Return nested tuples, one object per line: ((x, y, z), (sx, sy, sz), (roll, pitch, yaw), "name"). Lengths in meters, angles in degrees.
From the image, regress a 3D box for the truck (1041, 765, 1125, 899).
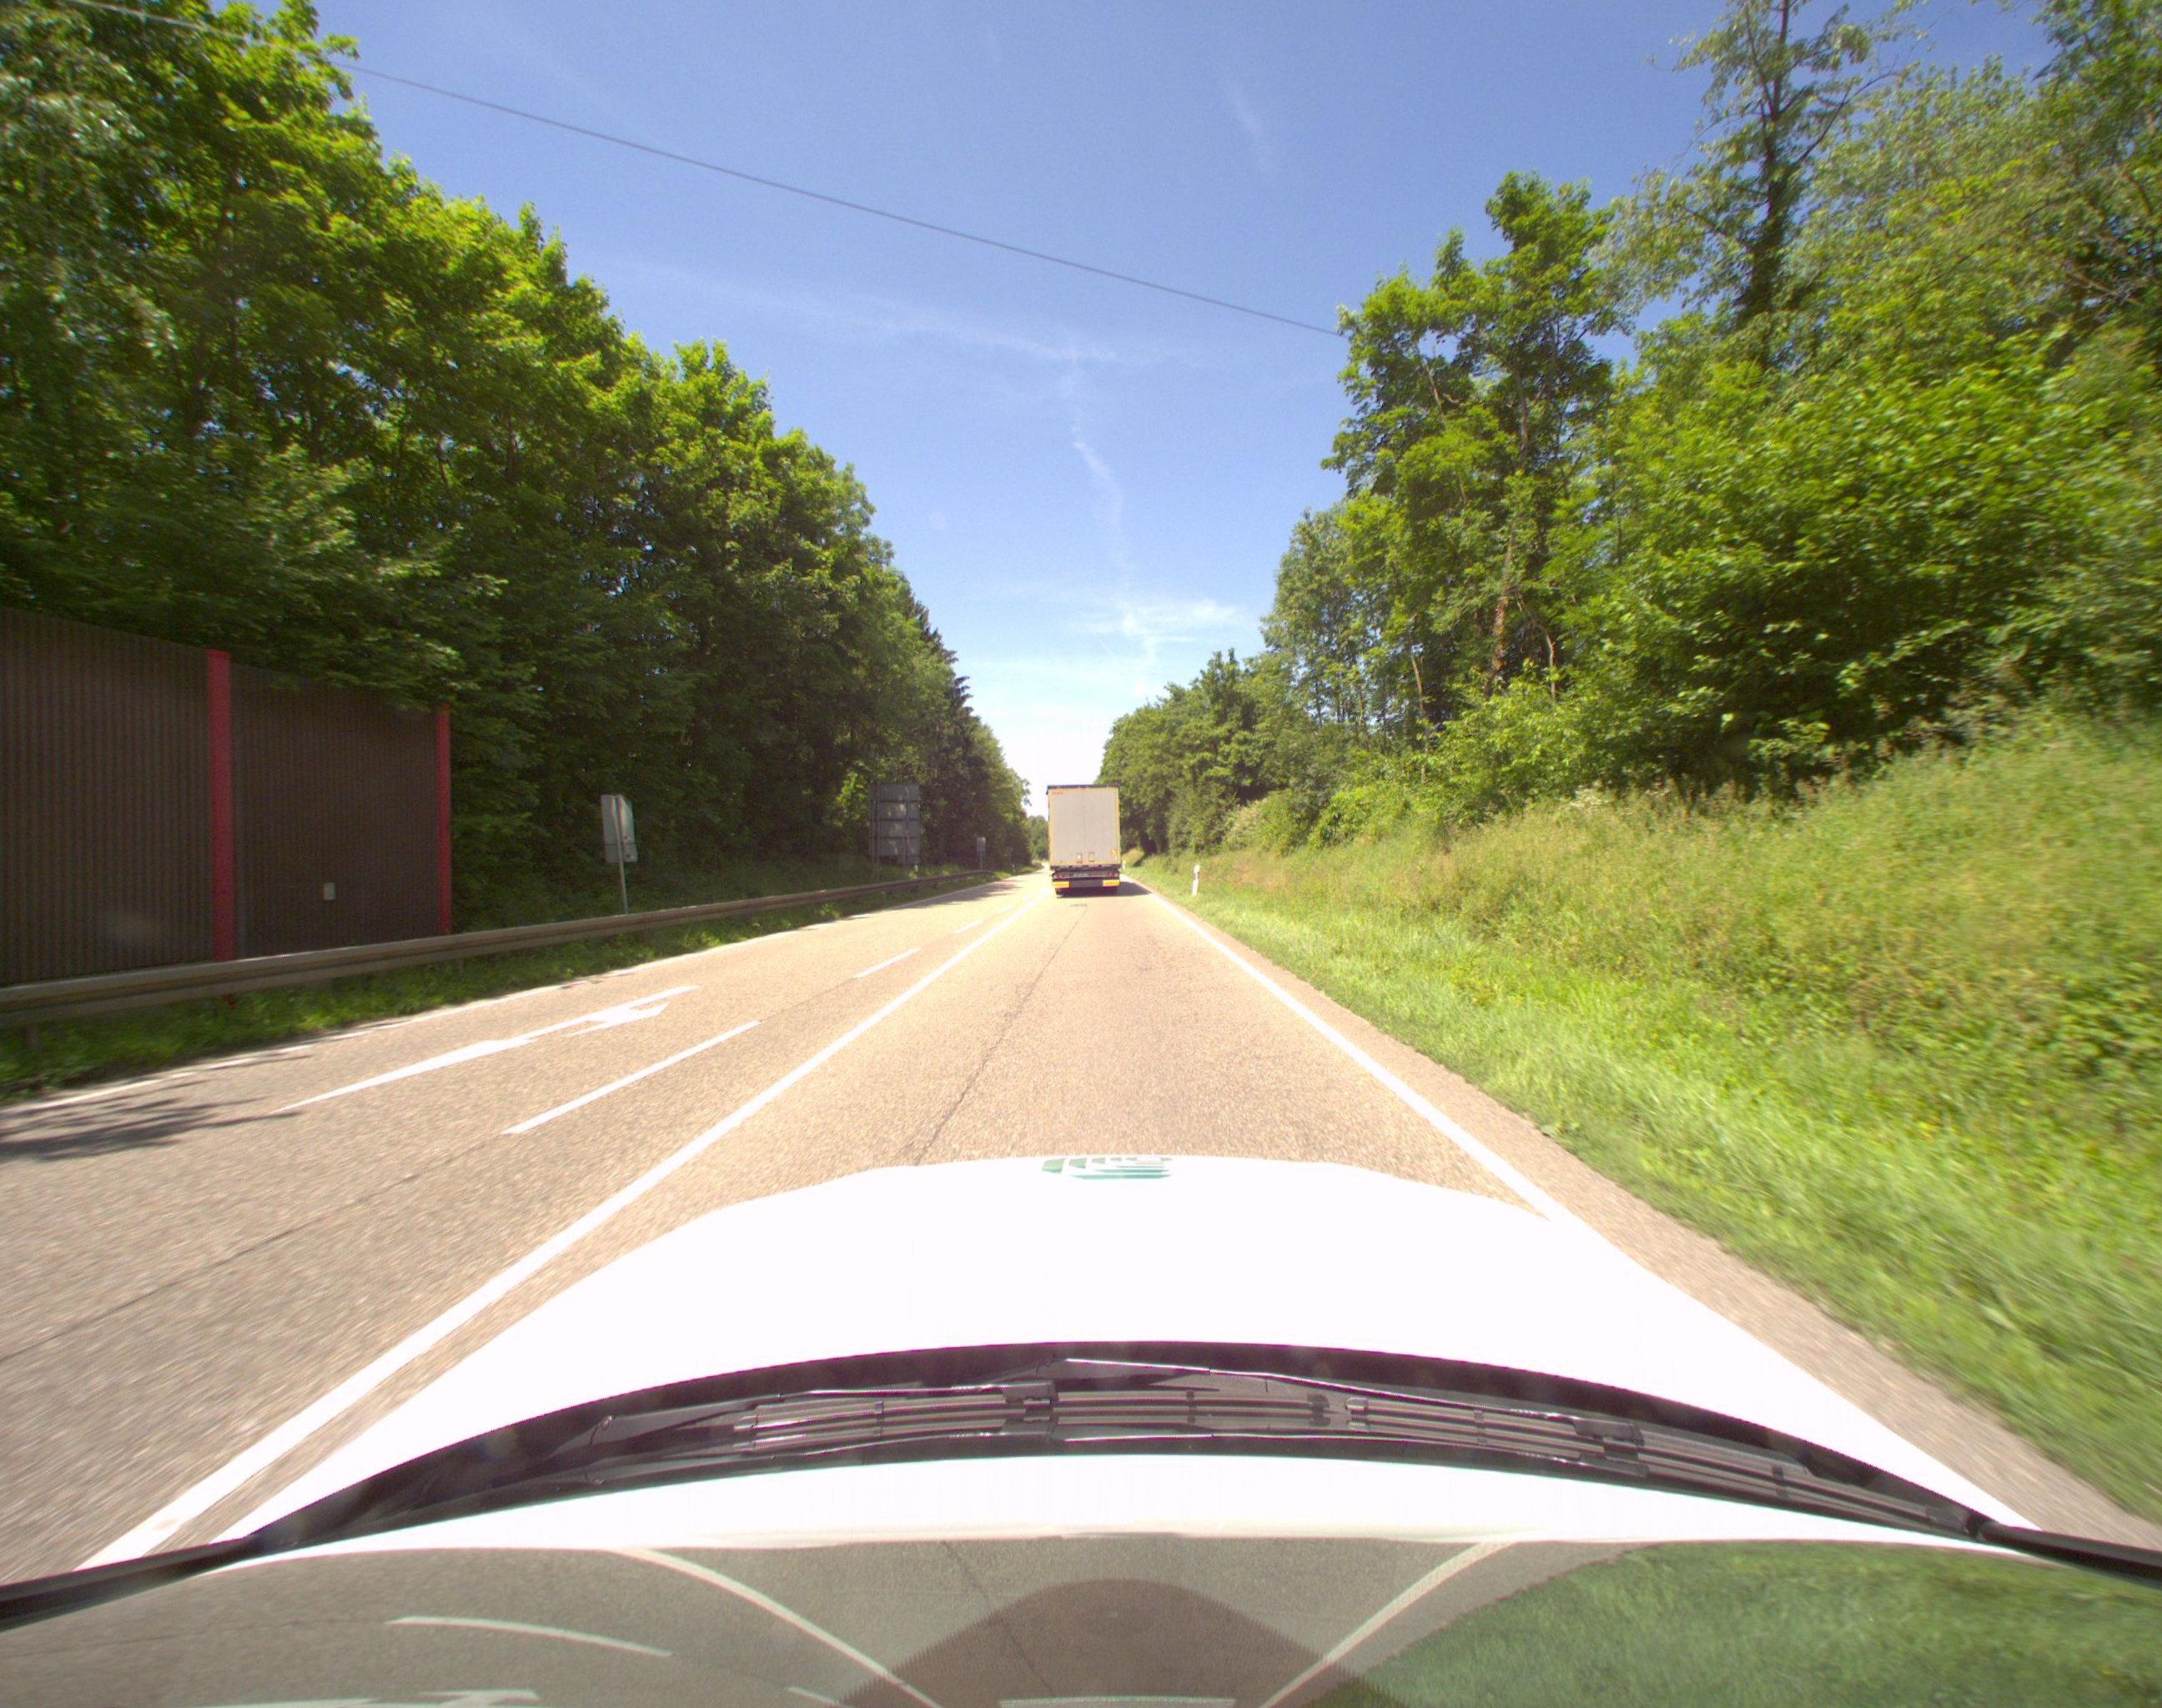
((0.166, -0.829, 31.742), (2.812, 4.603, 6.668), (-1, 1, 2), "truck")
